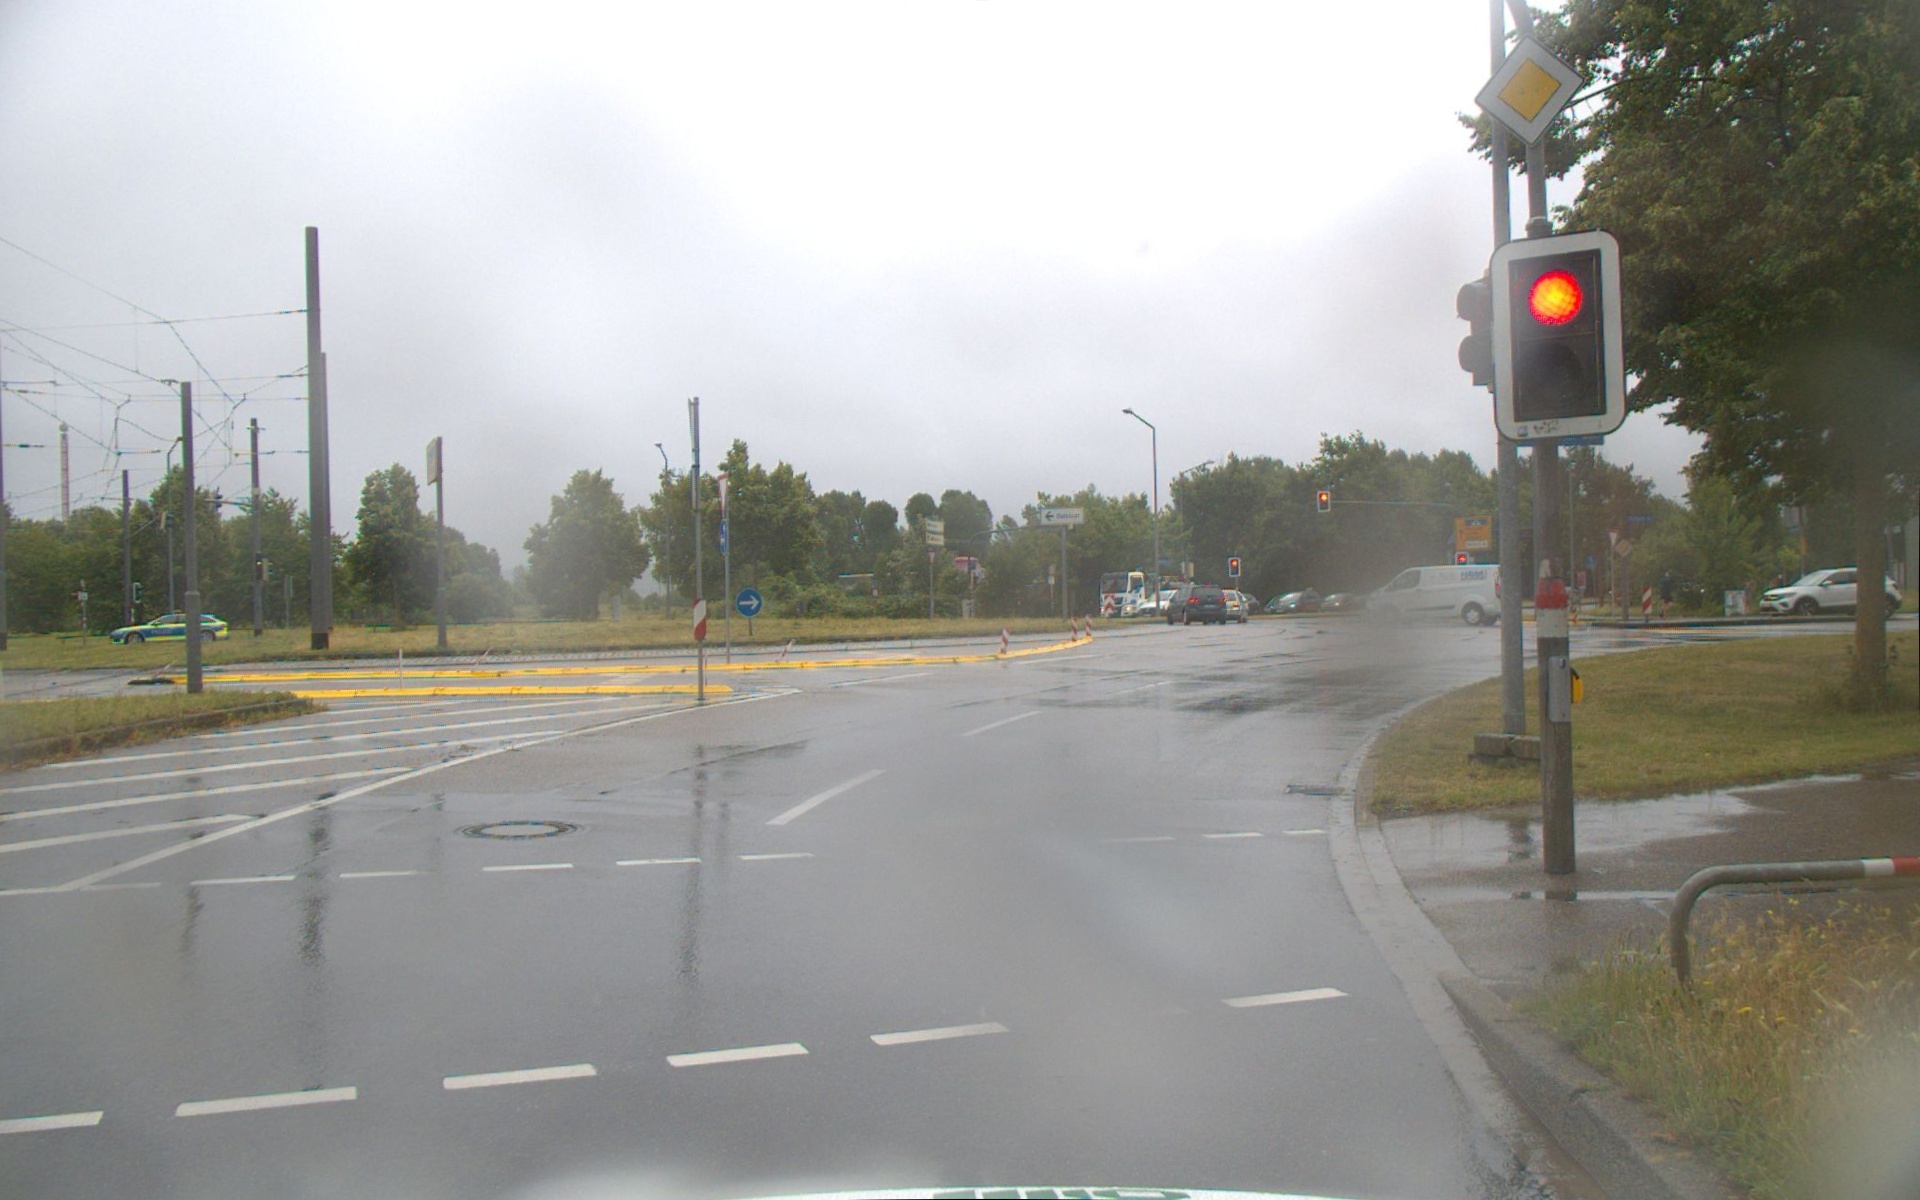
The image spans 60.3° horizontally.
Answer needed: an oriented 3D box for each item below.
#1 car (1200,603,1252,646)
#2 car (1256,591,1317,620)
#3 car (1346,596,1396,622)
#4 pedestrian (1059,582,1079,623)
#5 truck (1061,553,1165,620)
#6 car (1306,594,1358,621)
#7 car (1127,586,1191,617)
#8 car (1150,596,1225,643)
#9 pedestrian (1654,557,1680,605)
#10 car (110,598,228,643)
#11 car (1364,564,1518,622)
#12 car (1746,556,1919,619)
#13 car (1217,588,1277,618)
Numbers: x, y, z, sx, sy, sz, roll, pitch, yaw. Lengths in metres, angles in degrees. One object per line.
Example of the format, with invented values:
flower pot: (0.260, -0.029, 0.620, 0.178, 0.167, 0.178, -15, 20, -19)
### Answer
car: (12.471, 1.152, 77.321, 1.951, 1.884, 4.779, 1, -1, 14)
car: (20.247, 0.325, 102.469, 1.769, 1.691, 4.386, 0, -1, 40)
car: (28.239, 0.633, 113.671, 1.769, 1.691, 3.979, 0, -1, 40)
pedestrian: (3.575, 0.089, 54.402, 0.445, 1.327, 0.484, -1, 0, 38)
truck: (6.956, -0.546, 74.214, 2.411, 2.733, 8.058, 1, -1, 22)
car: (24.272, 0.476, 107.875, 1.768, 1.691, 3.980, 0, -1, 39)
car: (11.635, 0.076, 96.415, 1.769, 1.691, 4.112, 0, -1, 40)
car: (9.592, 0.810, 70.117, 1.956, 1.884, 4.767, 1, -1, -8)
pedestrian: (28.096, -0.744, 65.725, 0.799, 1.901, 0.668, 1, -1, 7)
car: (-35.430, 0.889, 74.191, 4.703, 1.883, 1.983, -1, 0, -27)
car: (16.360, -0.247, 56.319, 4.672, 1.884, 1.996, 1, -1, 31)
car: (27.841, -0.394, 52.654, 4.664, 1.883, 1.999, -1, 0, -2)
car: (17.099, 0.208, 98.308, 1.769, 1.691, 3.979, 0, -1, 40)
